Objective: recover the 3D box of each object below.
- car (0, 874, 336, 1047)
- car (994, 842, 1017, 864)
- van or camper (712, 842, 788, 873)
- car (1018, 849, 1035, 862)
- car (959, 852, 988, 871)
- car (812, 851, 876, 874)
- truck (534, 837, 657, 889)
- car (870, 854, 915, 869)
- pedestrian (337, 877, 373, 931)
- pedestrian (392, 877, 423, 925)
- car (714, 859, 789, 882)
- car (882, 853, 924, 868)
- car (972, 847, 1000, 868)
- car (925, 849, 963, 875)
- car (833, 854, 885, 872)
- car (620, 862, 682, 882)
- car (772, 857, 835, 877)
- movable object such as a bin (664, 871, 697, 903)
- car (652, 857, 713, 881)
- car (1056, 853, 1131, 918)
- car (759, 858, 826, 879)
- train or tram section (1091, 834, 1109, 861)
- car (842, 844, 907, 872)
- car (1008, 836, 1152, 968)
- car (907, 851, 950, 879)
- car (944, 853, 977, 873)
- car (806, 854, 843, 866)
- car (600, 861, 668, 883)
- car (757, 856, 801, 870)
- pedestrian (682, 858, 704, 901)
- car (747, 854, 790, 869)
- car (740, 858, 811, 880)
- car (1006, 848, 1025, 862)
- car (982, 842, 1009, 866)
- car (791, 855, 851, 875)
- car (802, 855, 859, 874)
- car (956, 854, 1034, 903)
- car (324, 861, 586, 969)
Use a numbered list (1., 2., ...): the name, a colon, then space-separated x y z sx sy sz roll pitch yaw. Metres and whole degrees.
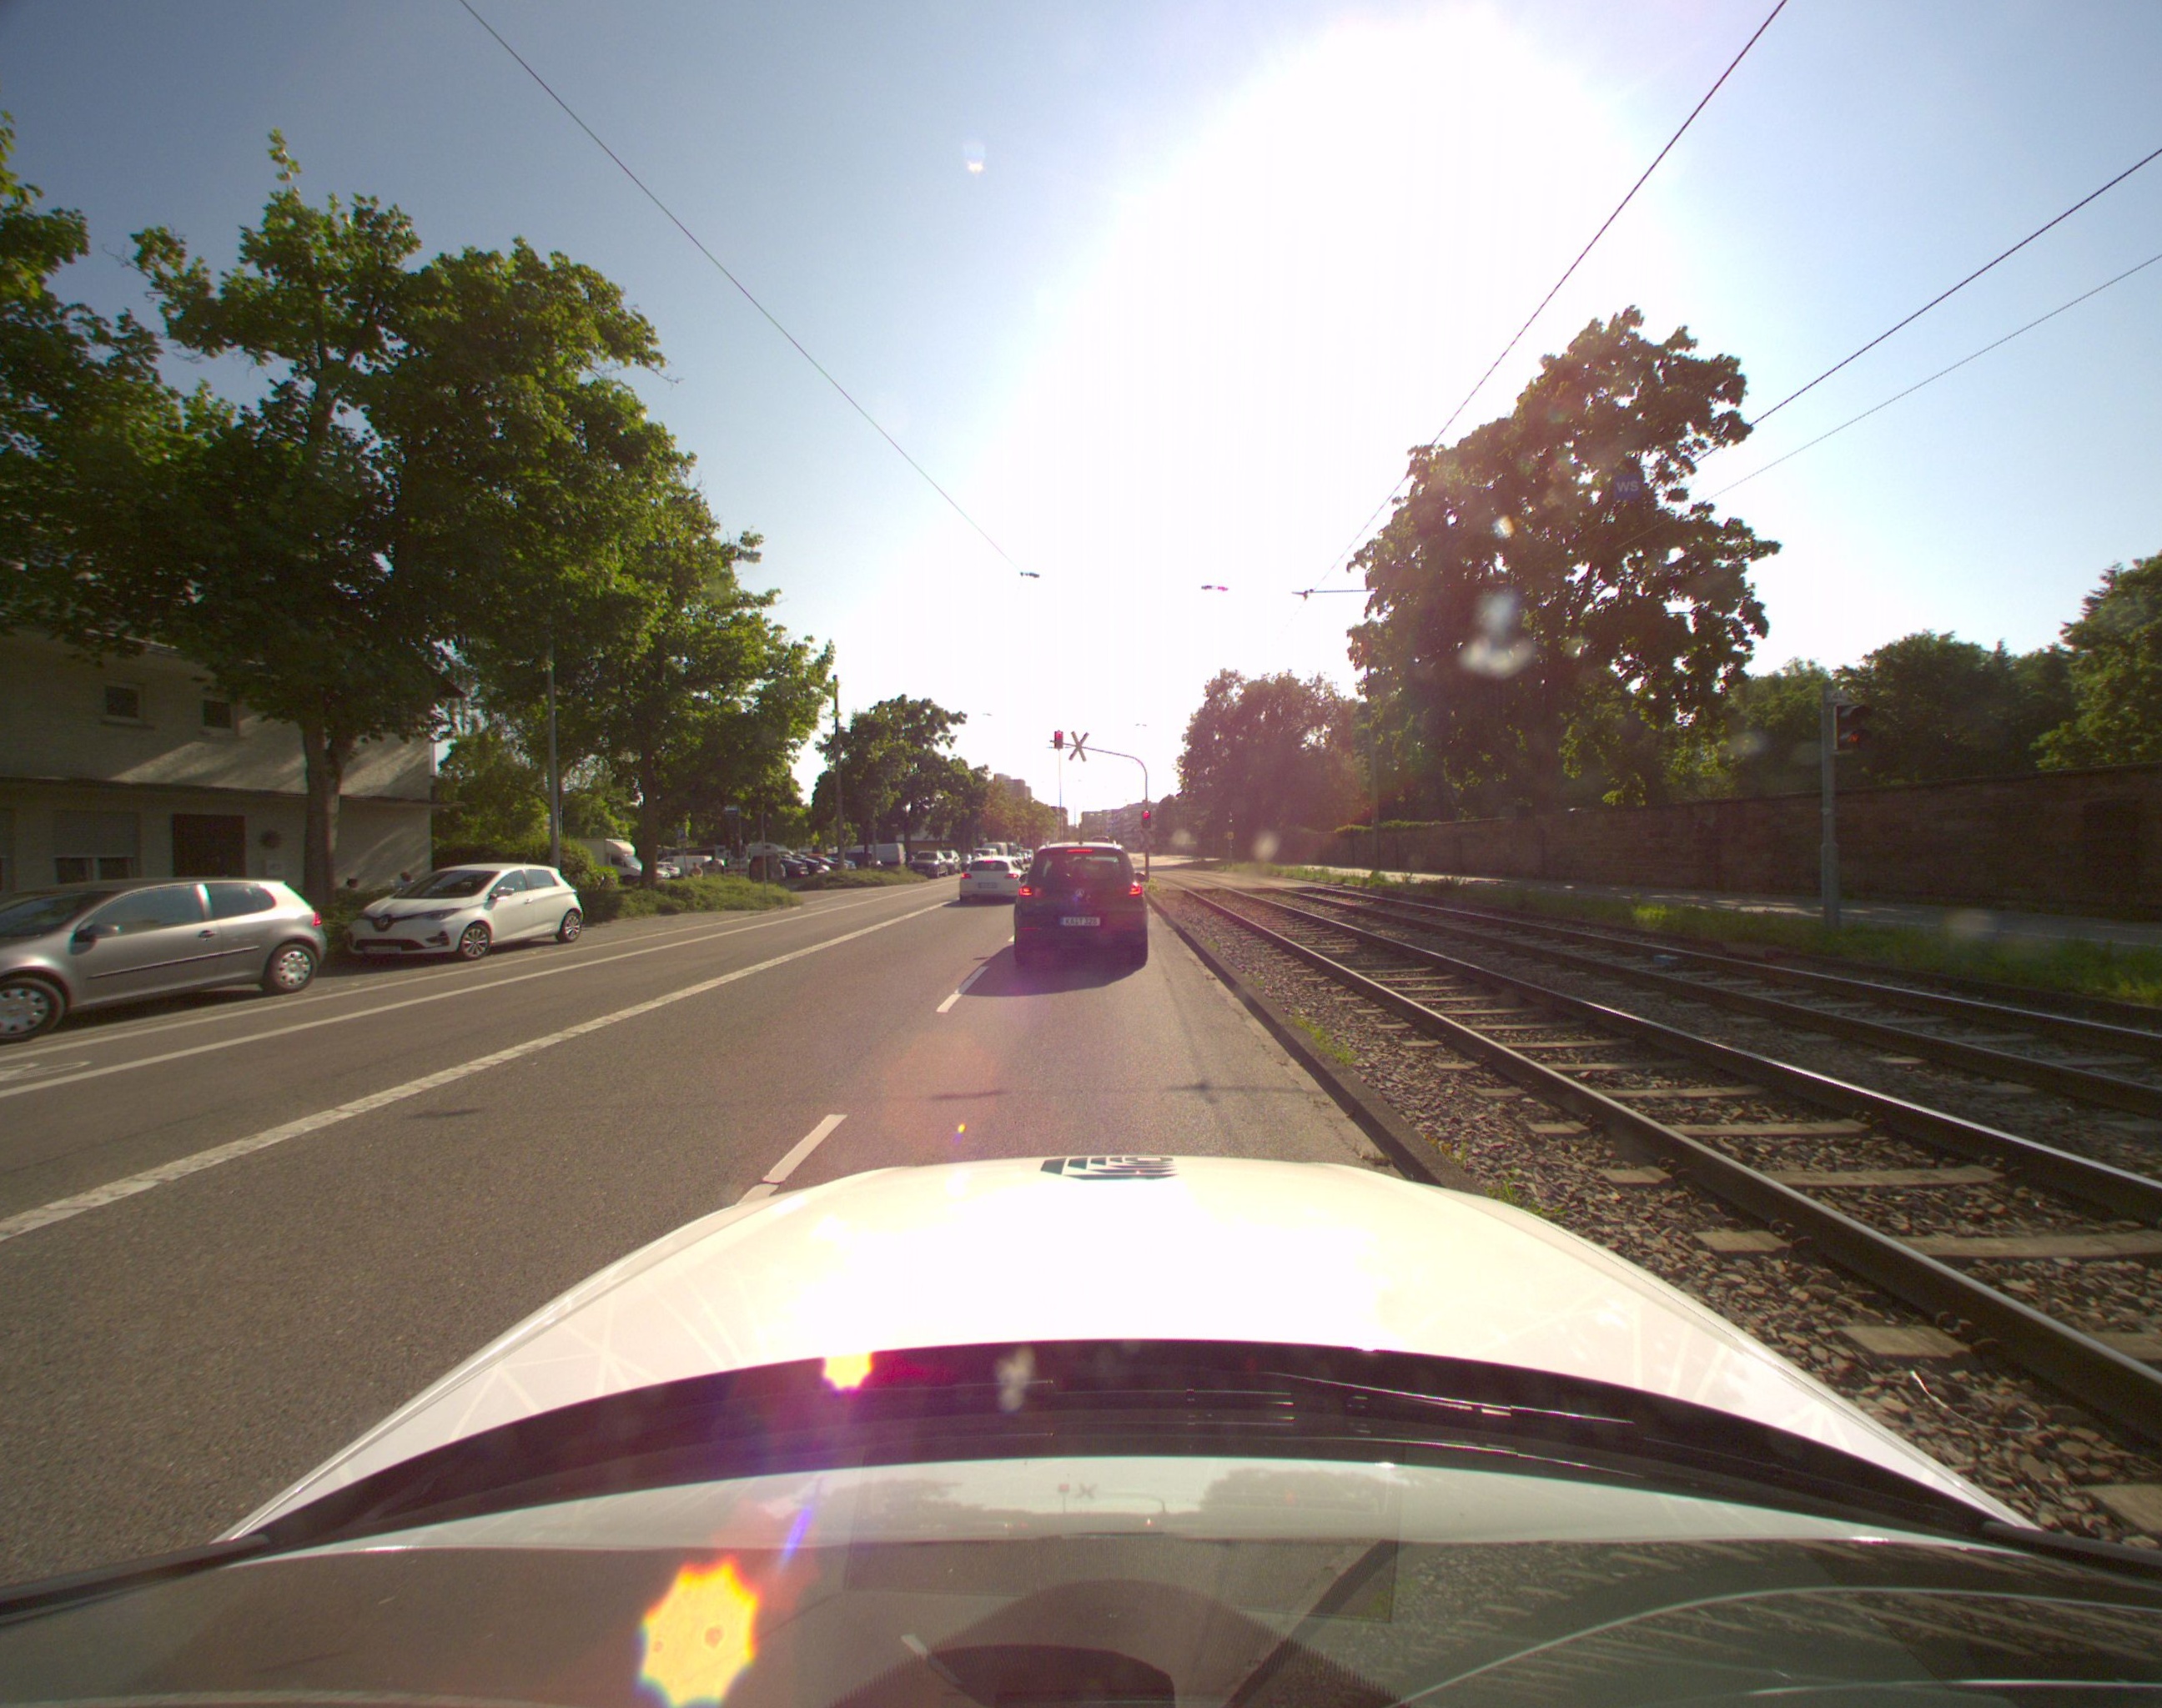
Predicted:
1. car: -10.689 1.032 8.769 1.672 1.468 3.967 -1 0 -1
2. car: -8.148 -0.107 88.382 1.724 2.268 4.649 -2 0 3
3. van or camper: -32.410 0.323 79.850 6.439 2.868 2.308 -1 0 2
4. car: -7.440 0.202 111.241 1.724 1.694 4.004 -1 1 3
5. car: -9.153 0.603 69.569 1.724 1.450 3.738 -1 1 3
6. car: -19.455 0.682 66.892 4.604 1.651 2.049 -2 0 -1
7. truck: -32.537 0.576 54.725 6.941 3.242 1.987 -2 0 -1
8. car: -18.551 0.712 80.334 3.976 1.397 1.736 -2 0 -2
9. pedestrian: -16.121 1.094 18.082 0.344 1.162 0.447 -1 0 9
10. pedestrian: -17.464 1.219 21.119 0.442 1.217 0.392 -1 0 9
11. car: -20.620 1.013 51.046 3.976 1.307 1.736 -2 0 -2
12. car: -18.714 0.683 85.811 3.976 1.397 1.736 -2 0 -2
13. car: -8.685 0.291 74.882 1.724 1.860 4.493 -2 0 3
14. car: -9.587 0.562 57.377 1.724 1.694 4.004 -1 1 3
15. car: -19.446 0.780 71.425 3.976 1.397 1.736 -2 0 -2
16. car: -32.979 1.368 62.513 3.966 1.361 1.630 -1 0 6
17. car: -20.150 0.953 59.275 3.976 1.307 1.736 -2 0 -2
18. movable object such as a bin: -15.165 1.232 30.859 0.540 1.146 1.261 -1 0 2
19. car: -31.706 1.178 64.823 3.981 1.728 1.624 -2 0 -6
20. car: 0.350 0.717 20.313 1.663 1.386 4.002 -2 0 2
21. car: -19.867 0.965 56.164 3.976 1.307 1.736 -2 0 -2
22. train or tram section: 2.693 -0.963 113.991 2.318 3.570 8.904 -2 0 2
23. car: -18.935 0.371 74.879 5.356 2.423 2.088 -2 0 1
24. car: 0.046 0.604 12.259 1.804 1.644 4.002 0 0 2
25. car: -9.678 0.644 51.892 1.724 1.657 4.003 -2 0 3
26. car: -9.391 0.661 63.687 1.724 1.389 3.738 -1 1 3
27. car: -31.457 0.754 100.100 3.976 1.397 1.736 -2 0 -2
28. car: -32.828 1.335 59.881 3.976 1.457 1.736 -2 0 -2
29. car: -32.631 0.939 88.086 3.976 1.397 1.736 -2 0 -2
30. pedestrian: -15.133 0.982 31.792 0.522 1.628 0.610 -1 0 1
31. car: -31.829 0.762 83.009 3.653 1.397 1.736 -2 0 -2
32. car: -20.018 0.983 53.448 3.976 1.307 1.736 -2 0 -2
33. car: -8.016 0.106 100.033 1.724 1.694 4.004 -1 1 3
34. car: -8.559 -0.020 81.558 1.856 2.347 4.989 -2 0 3
35. car: -19.623 0.840 61.536 3.976 1.397 1.736 -2 0 -2
36. car: -19.809 0.826 64.509 3.976 1.397 1.736 -2 0 -2
37. car: -2.575 0.707 25.227 1.858 1.348 4.002 -1 0 2
38. car: -10.670 0.946 14.290 1.596 1.550 3.893 1 0 -1
